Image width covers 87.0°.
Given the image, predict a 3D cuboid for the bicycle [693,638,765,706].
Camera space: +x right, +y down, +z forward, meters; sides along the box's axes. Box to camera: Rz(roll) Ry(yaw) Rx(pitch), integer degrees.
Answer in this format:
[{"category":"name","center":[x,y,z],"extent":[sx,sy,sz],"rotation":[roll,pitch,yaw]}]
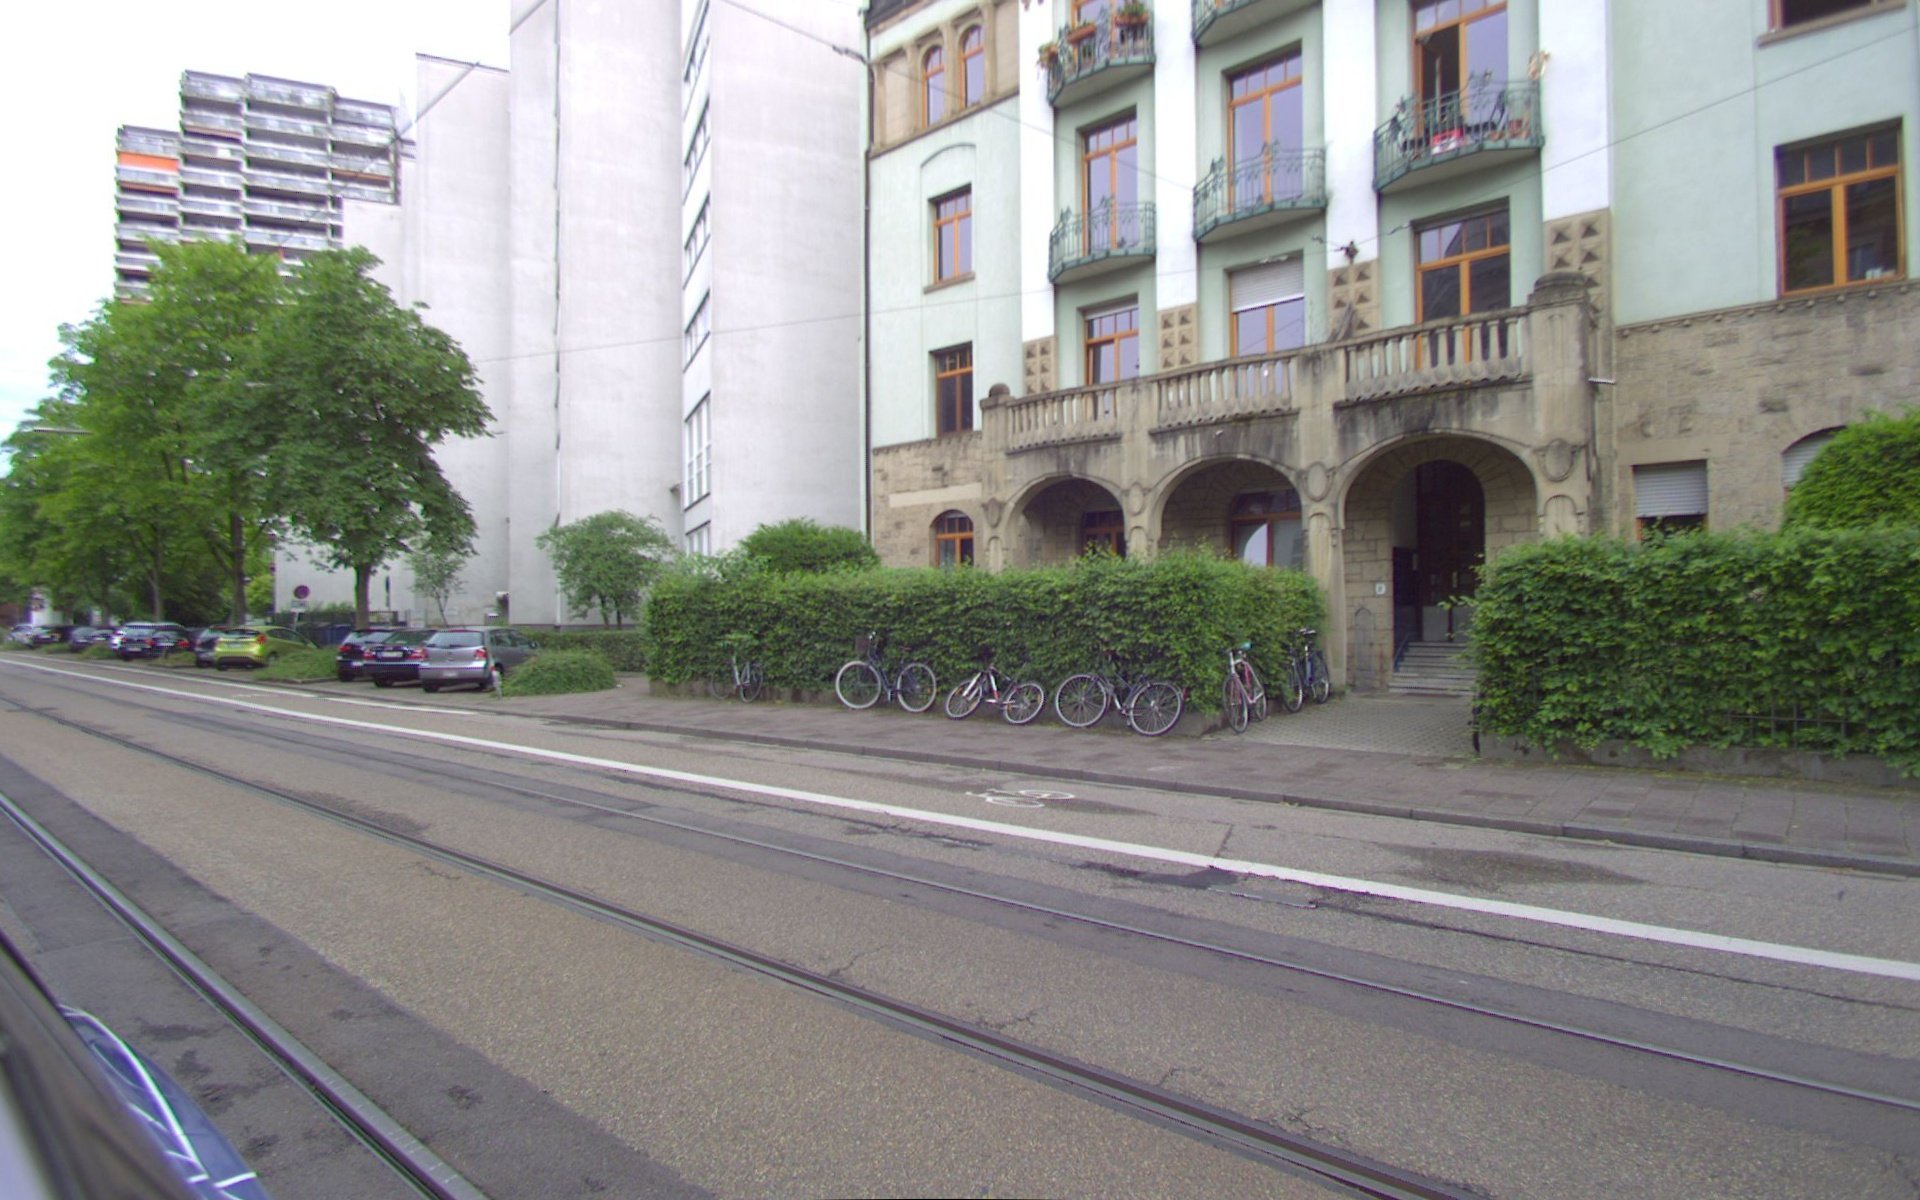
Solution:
[{"category":"bicycle","center":[-3.933,1.202,17.154],"extent":[1.546,1.092,0.356],"rotation":[-2,-2,41]}]

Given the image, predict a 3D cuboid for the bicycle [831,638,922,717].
[{"category":"bicycle","center":[-1.241,1.106,14.785],"extent":[1.546,1.092,0.356],"rotation":[-2,-2,41]}]

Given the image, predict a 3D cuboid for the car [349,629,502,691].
[{"category":"car","center":[-13.225,1.444,25.308],"extent":[1.672,1.413,3.998],"rotation":[0,-1,1]}]

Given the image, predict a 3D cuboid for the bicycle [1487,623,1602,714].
[{"category":"bicycle","center":[7.327,0.844,12.713],"extent":[1.203,1.091,0.297],"rotation":[-2,0,35]}]

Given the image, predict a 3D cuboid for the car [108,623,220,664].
[{"category":"car","center":[-33.101,1.788,42.221],"extent":[1.670,1.632,4.002],"rotation":[0,-1,-3]}]

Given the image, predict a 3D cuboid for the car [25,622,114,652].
[{"category":"car","center":[-50.568,2.056,57.547],"extent":[1.670,1.632,4.002],"rotation":[0,-1,-3]}]

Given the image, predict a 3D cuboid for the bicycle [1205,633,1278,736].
[{"category":"bicycle","center":[3.338,0.972,11.950],"extent":[0.300,1.091,1.190],"rotation":[-2,1,42]}]

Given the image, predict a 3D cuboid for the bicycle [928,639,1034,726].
[{"category":"bicycle","center":[0.257,1.063,13.411],"extent":[1.546,1.092,0.356],"rotation":[-2,-2,41]}]

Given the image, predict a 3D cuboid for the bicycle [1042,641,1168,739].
[{"category":"bicycle","center":[1.708,1.037,12.083],"extent":[1.546,1.092,0.356],"rotation":[-2,-2,41]}]

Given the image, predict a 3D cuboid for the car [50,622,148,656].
[{"category":"car","center":[-43.614,1.947,51.367],"extent":[1.670,1.632,4.002],"rotation":[0,-1,-3]}]

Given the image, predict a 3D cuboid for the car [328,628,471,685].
[{"category":"car","center":[-15.225,1.498,27.751],"extent":[1.672,1.413,3.998],"rotation":[0,-1,1]}]

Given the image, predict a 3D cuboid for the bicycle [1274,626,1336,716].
[{"category":"bicycle","center":[4.595,0.916,13.437],"extent":[0.300,1.091,1.190],"rotation":[-2,1,42]}]

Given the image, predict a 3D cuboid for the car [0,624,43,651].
[{"category":"car","center":[-59.031,2.327,63.472],"extent":[3.996,1.632,1.673],"rotation":[-1,-2,39]}]

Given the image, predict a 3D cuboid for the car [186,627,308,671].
[{"category":"car","center":[-25.421,1.712,36.249],"extent":[1.670,1.453,4.002],"rotation":[0,-1,-3]}]

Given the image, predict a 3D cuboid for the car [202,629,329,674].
[{"category":"car","center":[-23.265,1.683,34.078],"extent":[1.670,1.405,4.002],"rotation":[0,-1,-3]}]

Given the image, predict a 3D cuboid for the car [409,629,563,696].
[{"category":"car","center":[-10.896,1.392,23.588],"extent":[1.672,1.413,3.998],"rotation":[0,-1,1]}]
